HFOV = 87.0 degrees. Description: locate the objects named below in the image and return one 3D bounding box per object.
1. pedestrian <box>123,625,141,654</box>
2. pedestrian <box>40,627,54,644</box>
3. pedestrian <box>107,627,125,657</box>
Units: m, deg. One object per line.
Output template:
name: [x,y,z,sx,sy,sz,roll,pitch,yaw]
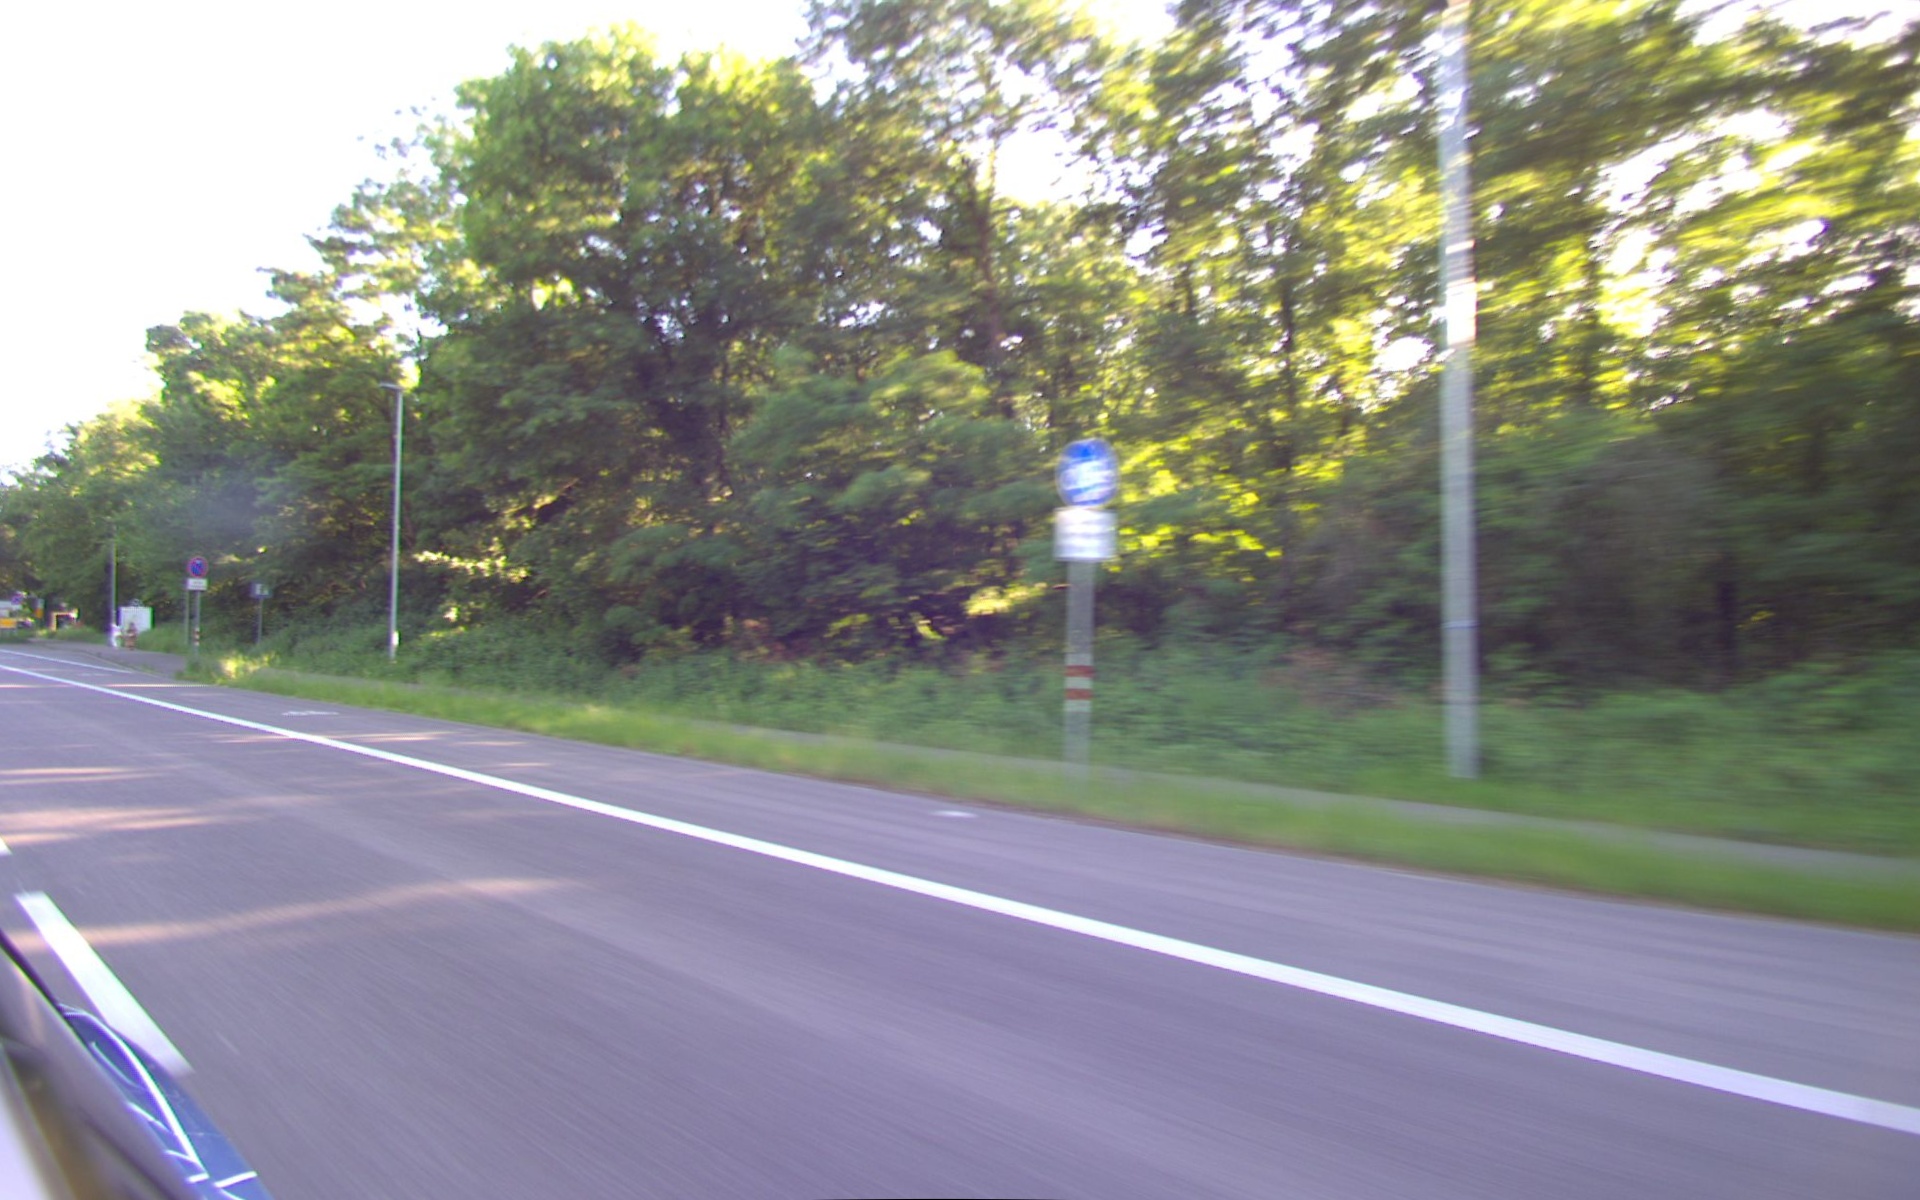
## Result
pedestrian: [-46.912,2.231,57.320,0.667,1.666,0.790,2,-2,-45]
pedestrian: [-97.264,3.769,107.796,0.820,1.833,0.739,1,-2,-20]
pedestrian: [-47.417,2.357,56.846,0.667,1.666,0.790,2,-2,-45]
